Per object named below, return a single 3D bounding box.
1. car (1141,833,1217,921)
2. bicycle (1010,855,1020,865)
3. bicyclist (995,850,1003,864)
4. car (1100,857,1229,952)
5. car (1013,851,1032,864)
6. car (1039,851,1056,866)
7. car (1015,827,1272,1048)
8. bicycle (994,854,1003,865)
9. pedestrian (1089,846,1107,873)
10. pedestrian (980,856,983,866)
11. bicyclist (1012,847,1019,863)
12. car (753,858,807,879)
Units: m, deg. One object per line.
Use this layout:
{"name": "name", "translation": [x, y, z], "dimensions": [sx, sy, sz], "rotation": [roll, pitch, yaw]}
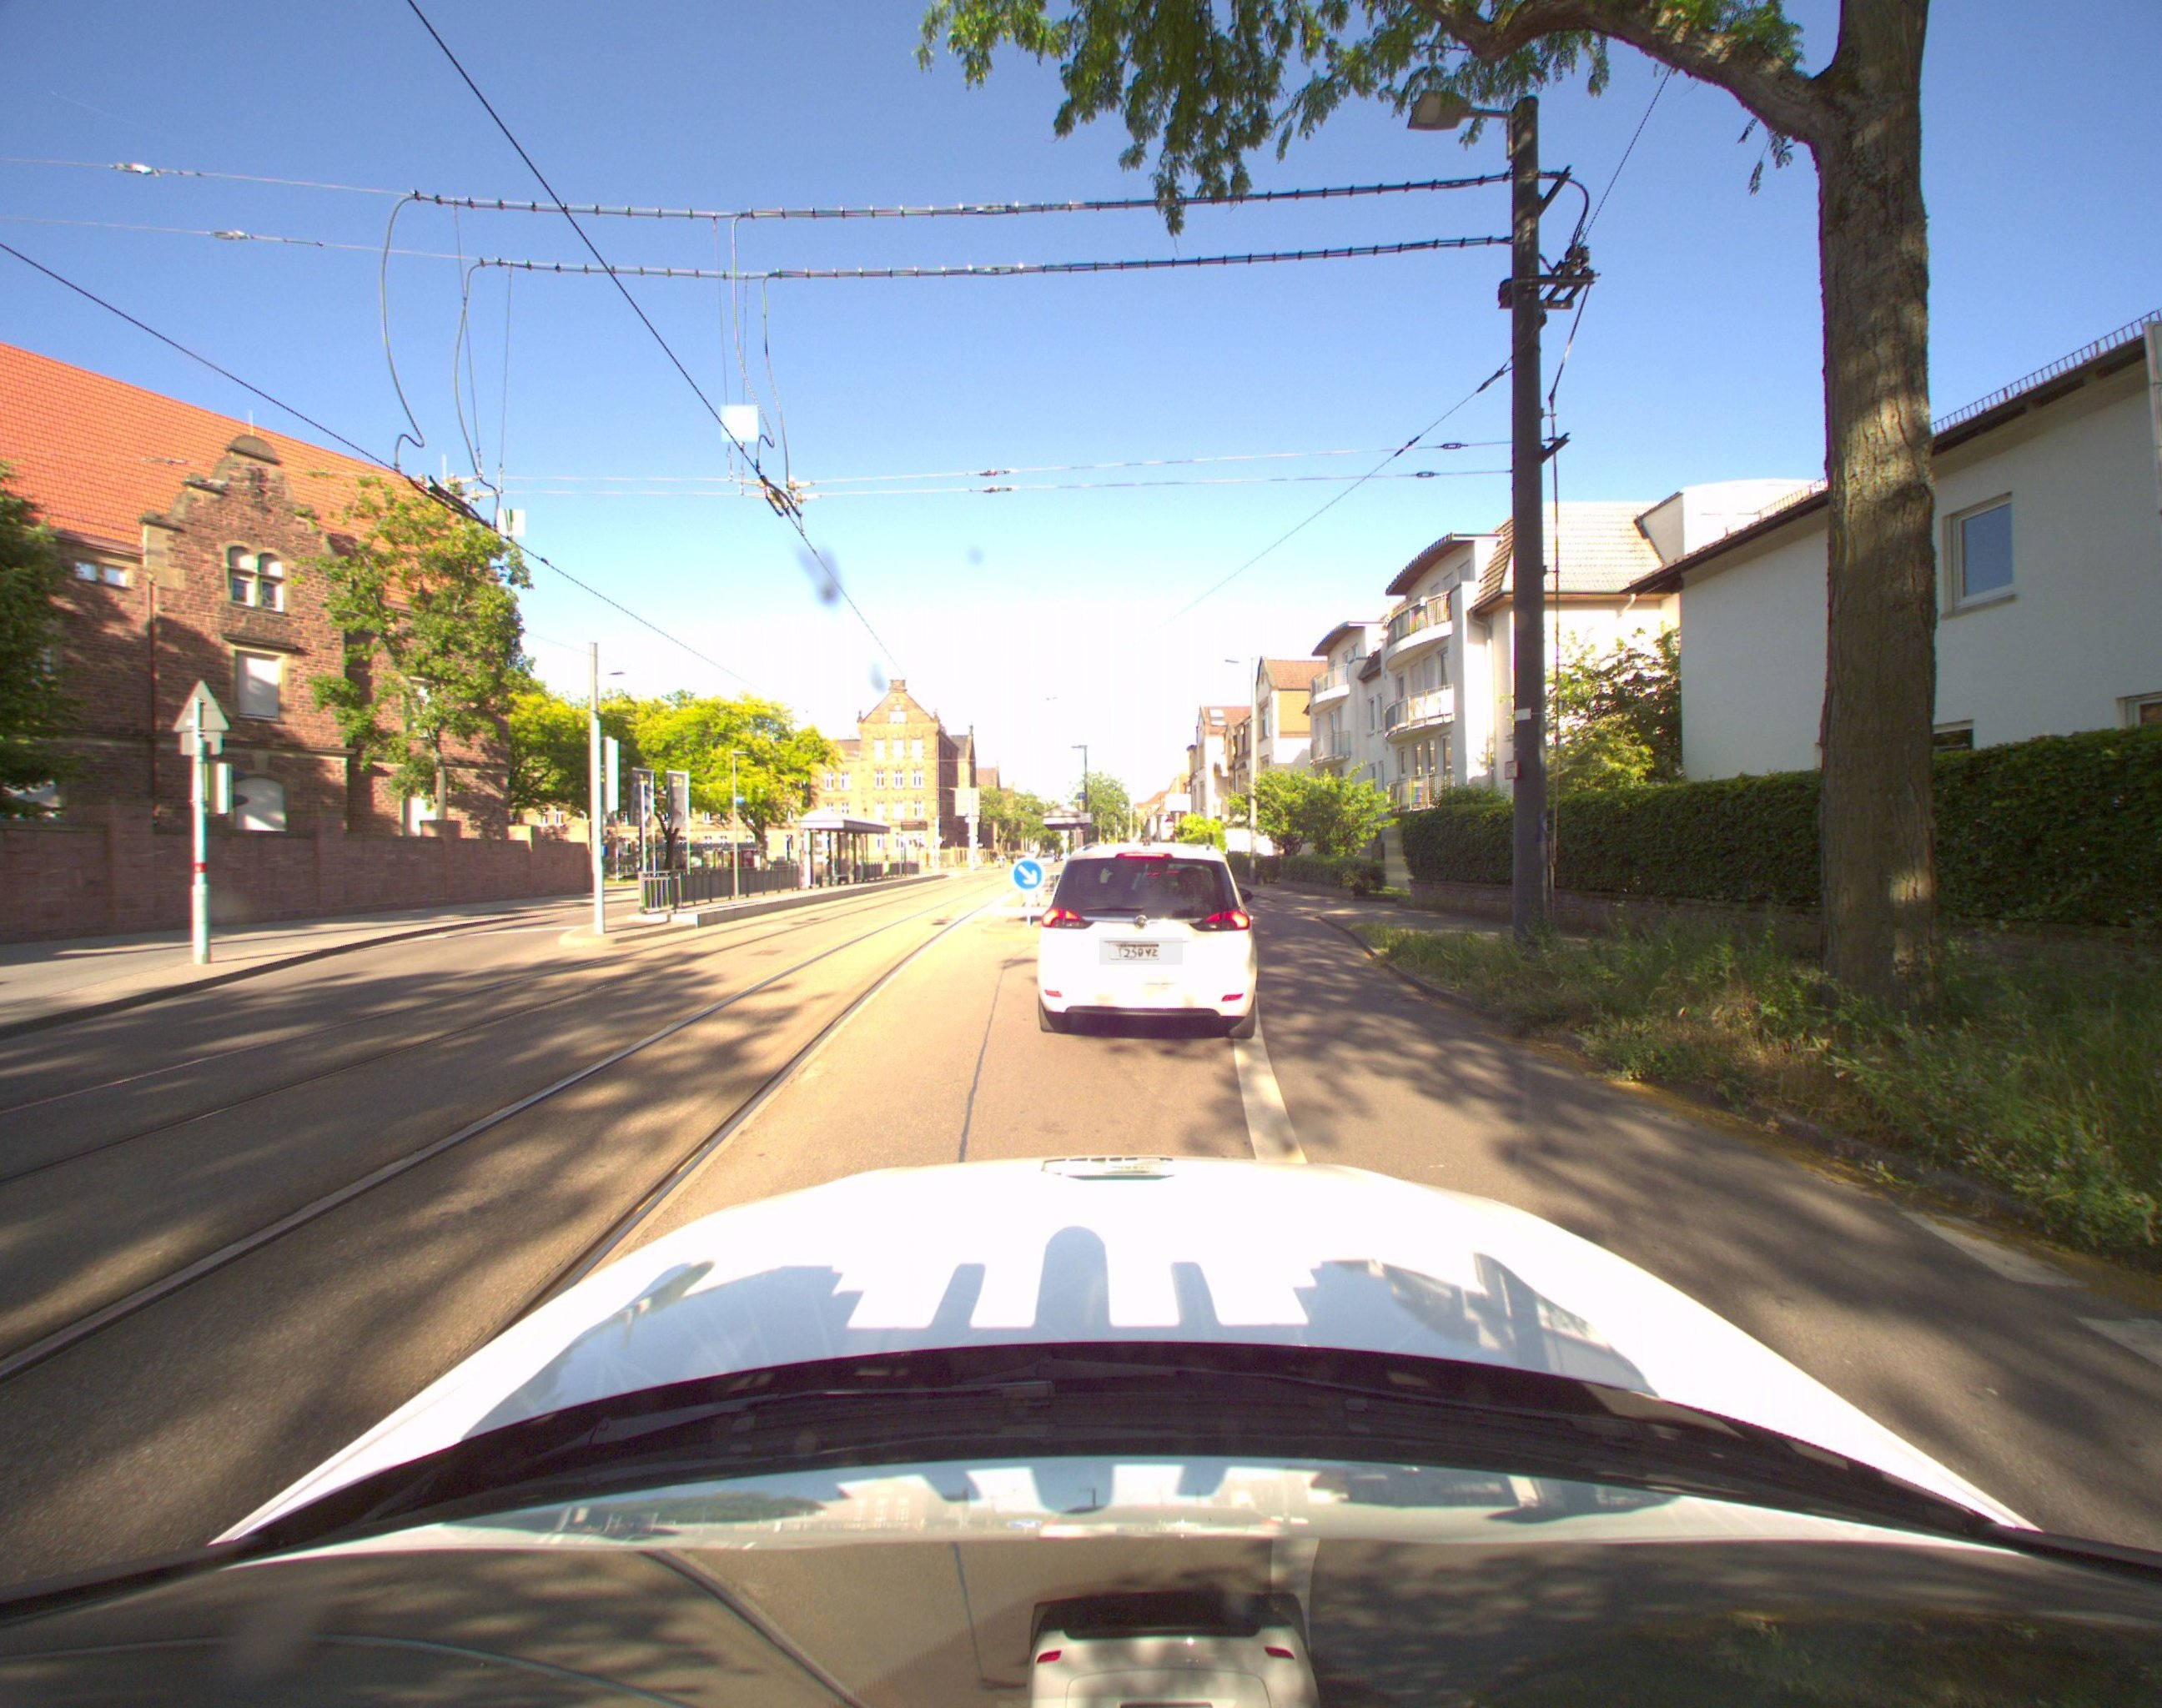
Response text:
{"name": "car", "translation": [2.592, 0.530, 20.917], "dimensions": [1.698, 2.013, 3.917], "rotation": [-1, 0, 9]}
{"name": "bicycle", "translation": [-8.574, 0.791, 106.271], "dimensions": [1.145, 1.297, 2.859], "rotation": [-1, 0, -2]}
{"name": "bicyclist", "translation": [-10.486, 0.342, 103.726], "dimensions": [0.941, 1.734, 0.861], "rotation": [-1, 0, -1]}
{"name": "car", "translation": [1.633, 0.804, 14.795], "dimensions": [1.982, 1.442, 4.011], "rotation": [-1, 0, 9]}
{"name": "car", "translation": [-8.194, 0.475, 114.509], "dimensions": [1.984, 1.722, 4.005], "rotation": [-1, 0, 4]}
{"name": "car", "translation": [-4.385, 0.591, 107.926], "dimensions": [1.987, 1.913, 4.000], "rotation": [-1, -1, 1]}
{"name": "car", "translation": [0.733, 0.687, 8.150], "dimensions": [1.882, 1.611, 4.237], "rotation": [-1, -2, 8]}
{"name": "bicycle", "translation": [-10.457, 0.668, 103.437], "dimensions": [0.819, 1.297, 2.676], "rotation": [-1, 0, -1]}
{"name": "pedestrian", "translation": [1.300, 0.394, 62.055], "dimensions": [1.155, 2.013, 1.116], "rotation": [-1, 0, -10]}
{"name": "pedestrian", "translation": [-14.156, 0.994, 116.249], "dimensions": [0.360, 1.438, 0.549], "rotation": [-1, 0, 2]}
{"name": "bicyclist", "translation": [-8.554, 0.171, 106.270], "dimensions": [0.948, 2.013, 0.822], "rotation": [-1, 0, -4]}
{"name": "car", "translation": [-26.313, 1.269, 71.373], "dimensions": [3.980, 1.790, 1.997], "rotation": [-1, 0, -5]}
